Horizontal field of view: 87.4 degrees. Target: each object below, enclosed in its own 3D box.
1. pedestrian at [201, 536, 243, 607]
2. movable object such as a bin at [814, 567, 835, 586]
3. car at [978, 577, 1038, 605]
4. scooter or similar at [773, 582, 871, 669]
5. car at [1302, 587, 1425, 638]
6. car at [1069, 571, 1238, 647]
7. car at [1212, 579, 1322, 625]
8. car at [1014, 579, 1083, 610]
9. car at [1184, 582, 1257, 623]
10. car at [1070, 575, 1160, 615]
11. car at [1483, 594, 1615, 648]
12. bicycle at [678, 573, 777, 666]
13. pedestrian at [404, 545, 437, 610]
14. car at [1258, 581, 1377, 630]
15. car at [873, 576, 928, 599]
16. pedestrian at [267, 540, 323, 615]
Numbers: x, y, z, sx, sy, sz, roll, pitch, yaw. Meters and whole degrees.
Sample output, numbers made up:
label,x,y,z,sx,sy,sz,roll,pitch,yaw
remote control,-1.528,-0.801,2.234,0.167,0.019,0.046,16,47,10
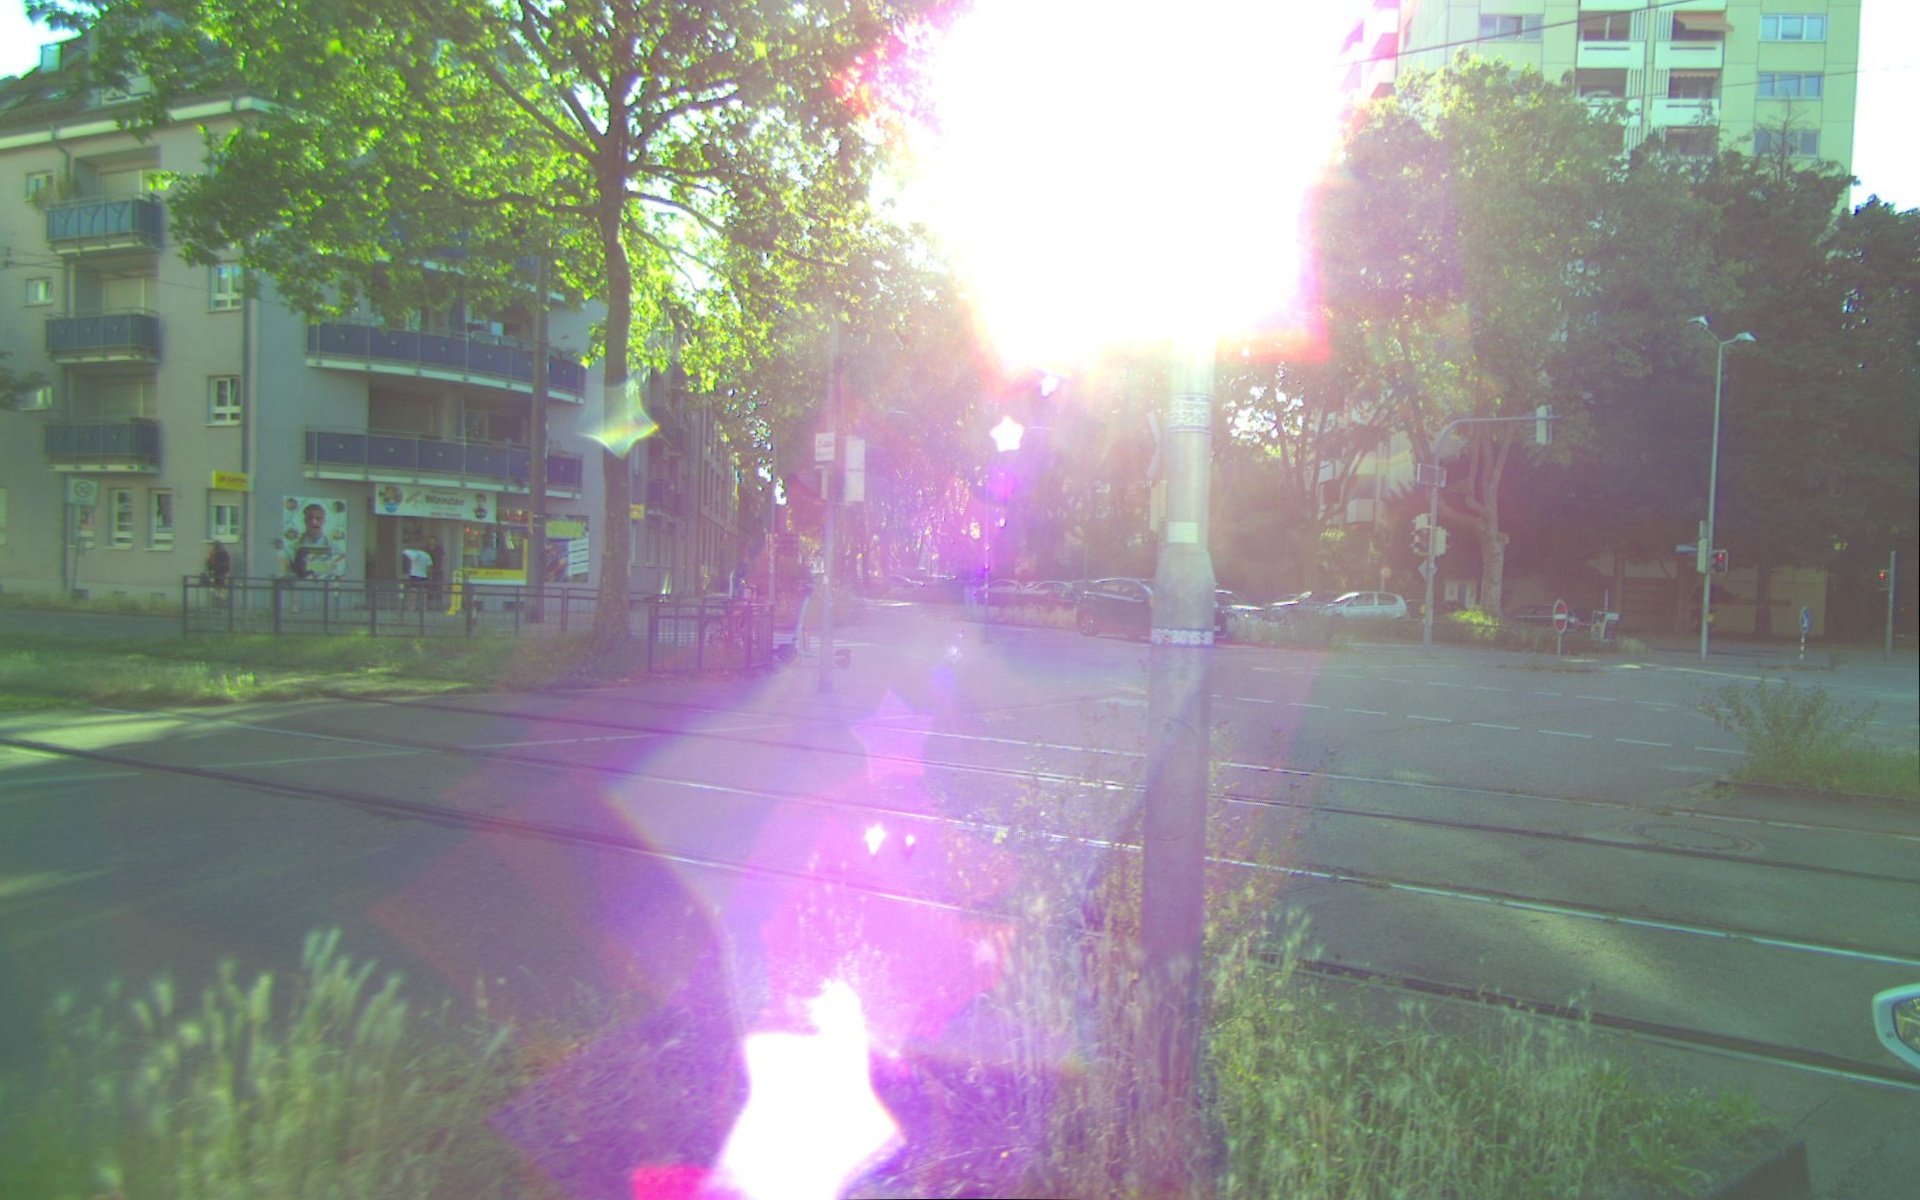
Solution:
label,x,y,z,sx,sy,sz,roll,pitch,yaw
pedestrian,-17.990,-0.690,24.496,0.607,1.689,0.551,3,2,19
movable object such as a bin,-14.918,-2.604,110.492,1.966,2.041,3.989,2,2,-13
car,3.203,-0.626,67.157,3.920,1.617,1.738,3,2,3
scooter or similar,-2.150,0.386,15.653,1.412,1.255,0.414,3,2,12
car,14.707,0.425,36.717,3.731,1.617,1.738,3,2,3
car,4.638,0.174,24.592,1.720,1.617,3.962,2,2,-34
car,12.529,0.060,41.105,3.920,1.617,1.738,3,2,3
car,5.180,-0.324,59.152,3.920,1.617,1.738,3,2,3
car,14.450,0.124,55.906,1.970,2.041,3.981,2,2,-20
car,7.169,-0.234,46.747,3.920,1.617,1.738,3,2,3
car,22.518,0.760,38.604,1.970,1.798,3.981,2,2,-20
bicycle,-3.673,0.287,15.760,1.812,1.324,0.382,4,2,36
pedestrian,-14.340,-0.594,26.701,0.610,1.689,0.548,4,2,41
car,13.760,0.191,38.807,3.920,1.617,1.738,3,2,3
car,-4.731,-1.017,79.985,3.919,1.617,1.739,3,2,12
pedestrian,-15.643,-0.533,23.636,0.607,1.689,0.926,3,2,6
